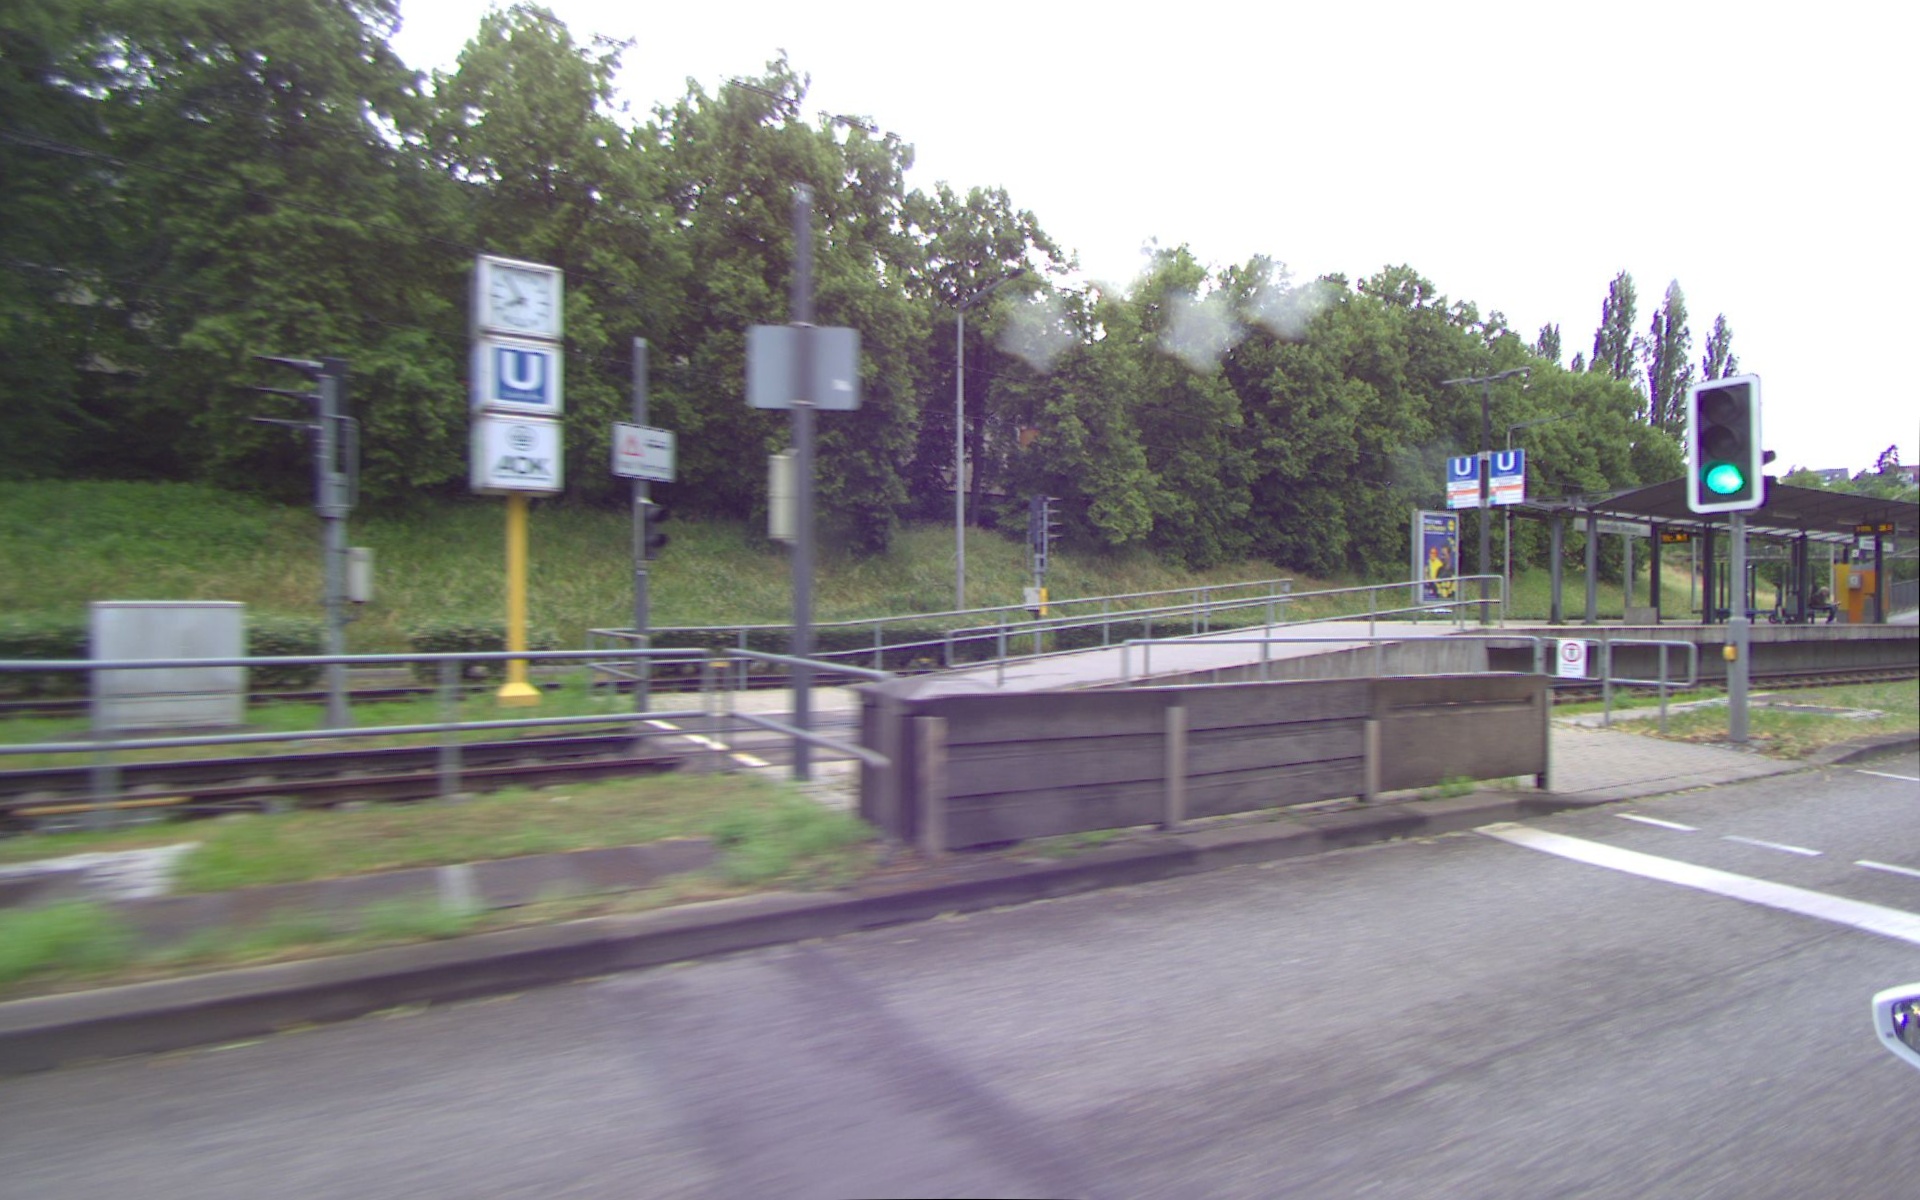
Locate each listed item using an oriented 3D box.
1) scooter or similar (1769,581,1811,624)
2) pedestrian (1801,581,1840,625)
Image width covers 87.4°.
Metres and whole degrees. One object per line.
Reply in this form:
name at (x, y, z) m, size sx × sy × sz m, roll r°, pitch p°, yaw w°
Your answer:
scooter or similar at (24.570, 0.057, 29.753) m, size 0.372 × 1.234 × 1.301 m, roll 3°, pitch 2°, yaw 13°
pedestrian at (27.174, 0.095, 31.727) m, size 0.685 × 1.374 × 0.748 m, roll 1°, pitch 1°, yaw -34°
